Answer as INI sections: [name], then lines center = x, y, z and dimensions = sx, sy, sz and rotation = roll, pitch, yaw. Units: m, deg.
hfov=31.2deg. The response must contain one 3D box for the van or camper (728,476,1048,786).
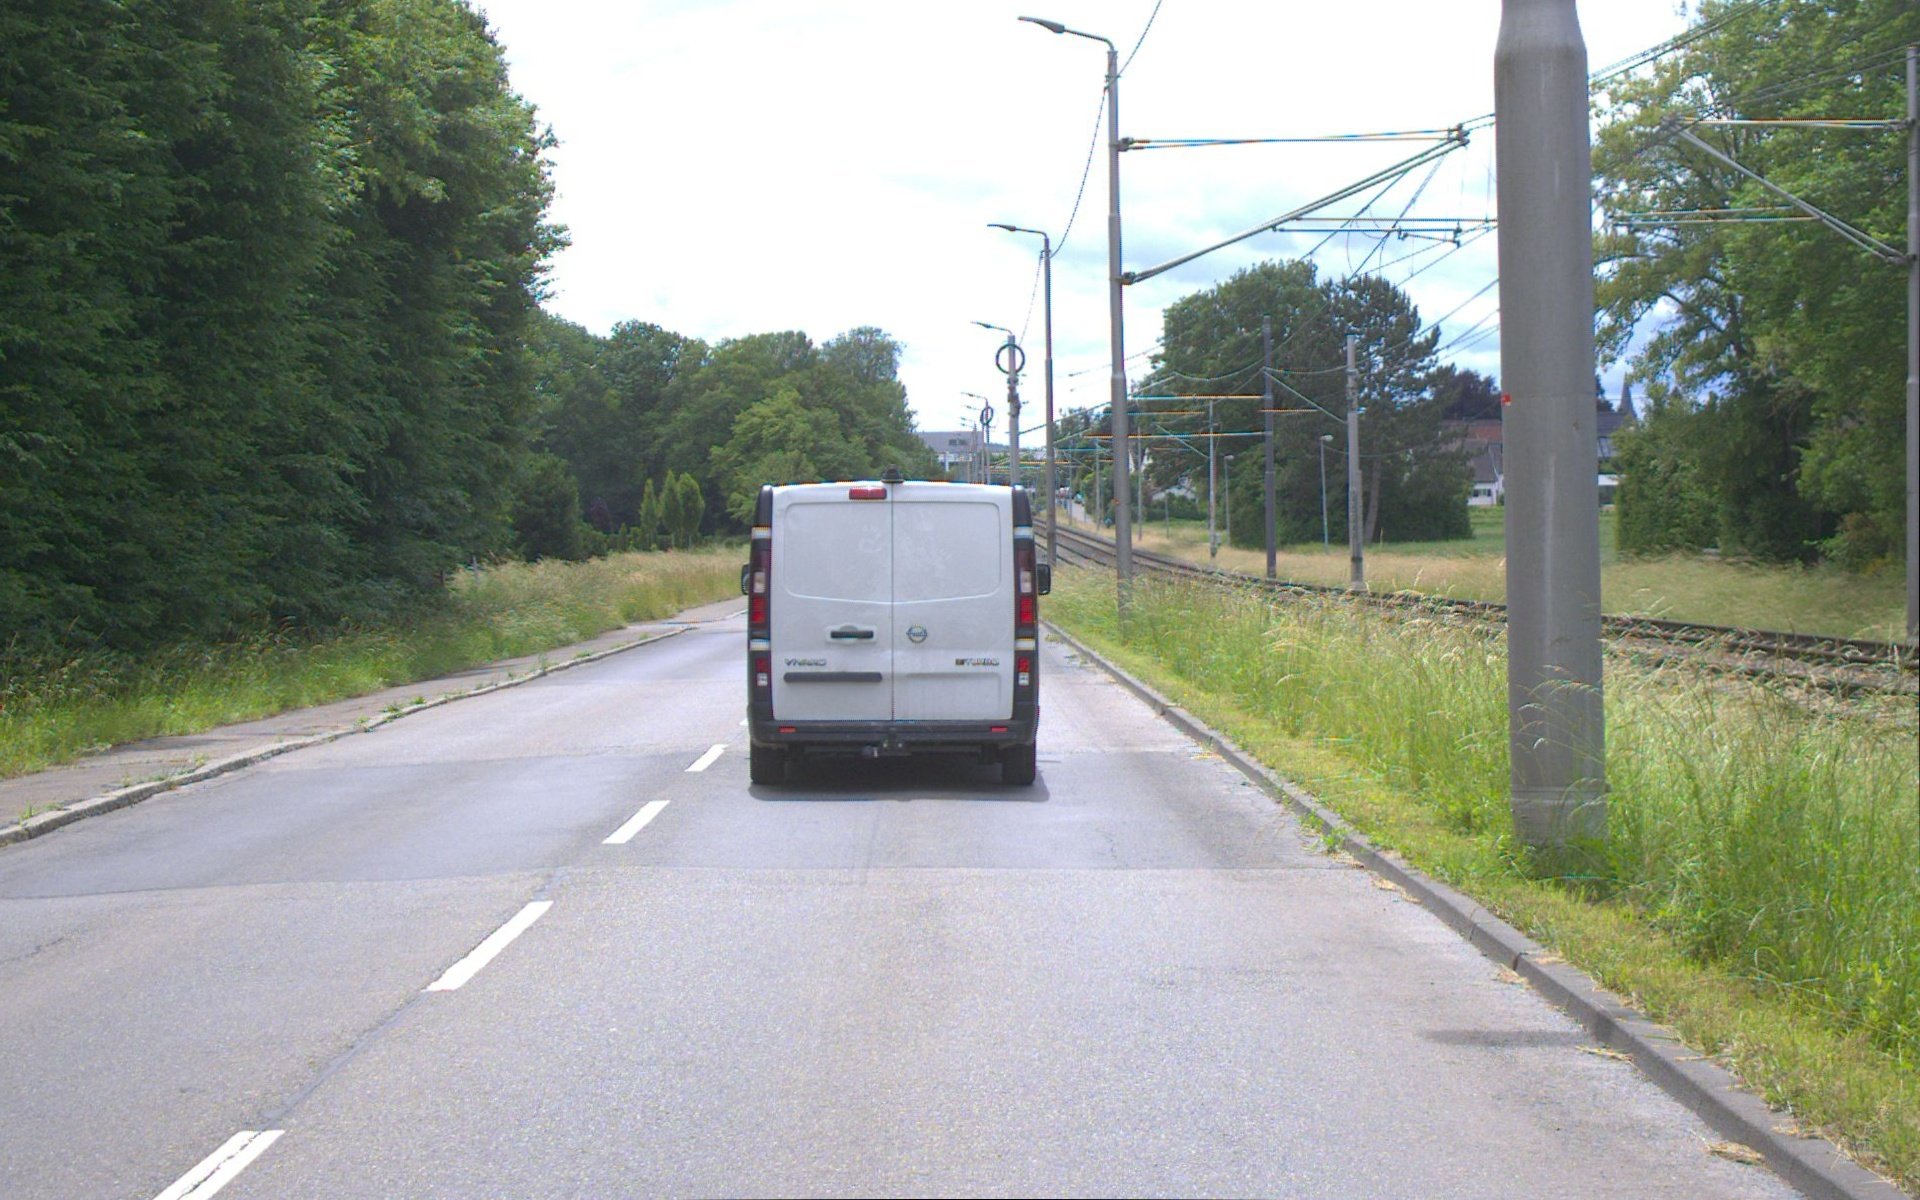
[van or camper]
center = -0.388, 0.157, 23.220
dimensions = 1.942, 1.890, 4.285
rotation = 0, 1, 2
